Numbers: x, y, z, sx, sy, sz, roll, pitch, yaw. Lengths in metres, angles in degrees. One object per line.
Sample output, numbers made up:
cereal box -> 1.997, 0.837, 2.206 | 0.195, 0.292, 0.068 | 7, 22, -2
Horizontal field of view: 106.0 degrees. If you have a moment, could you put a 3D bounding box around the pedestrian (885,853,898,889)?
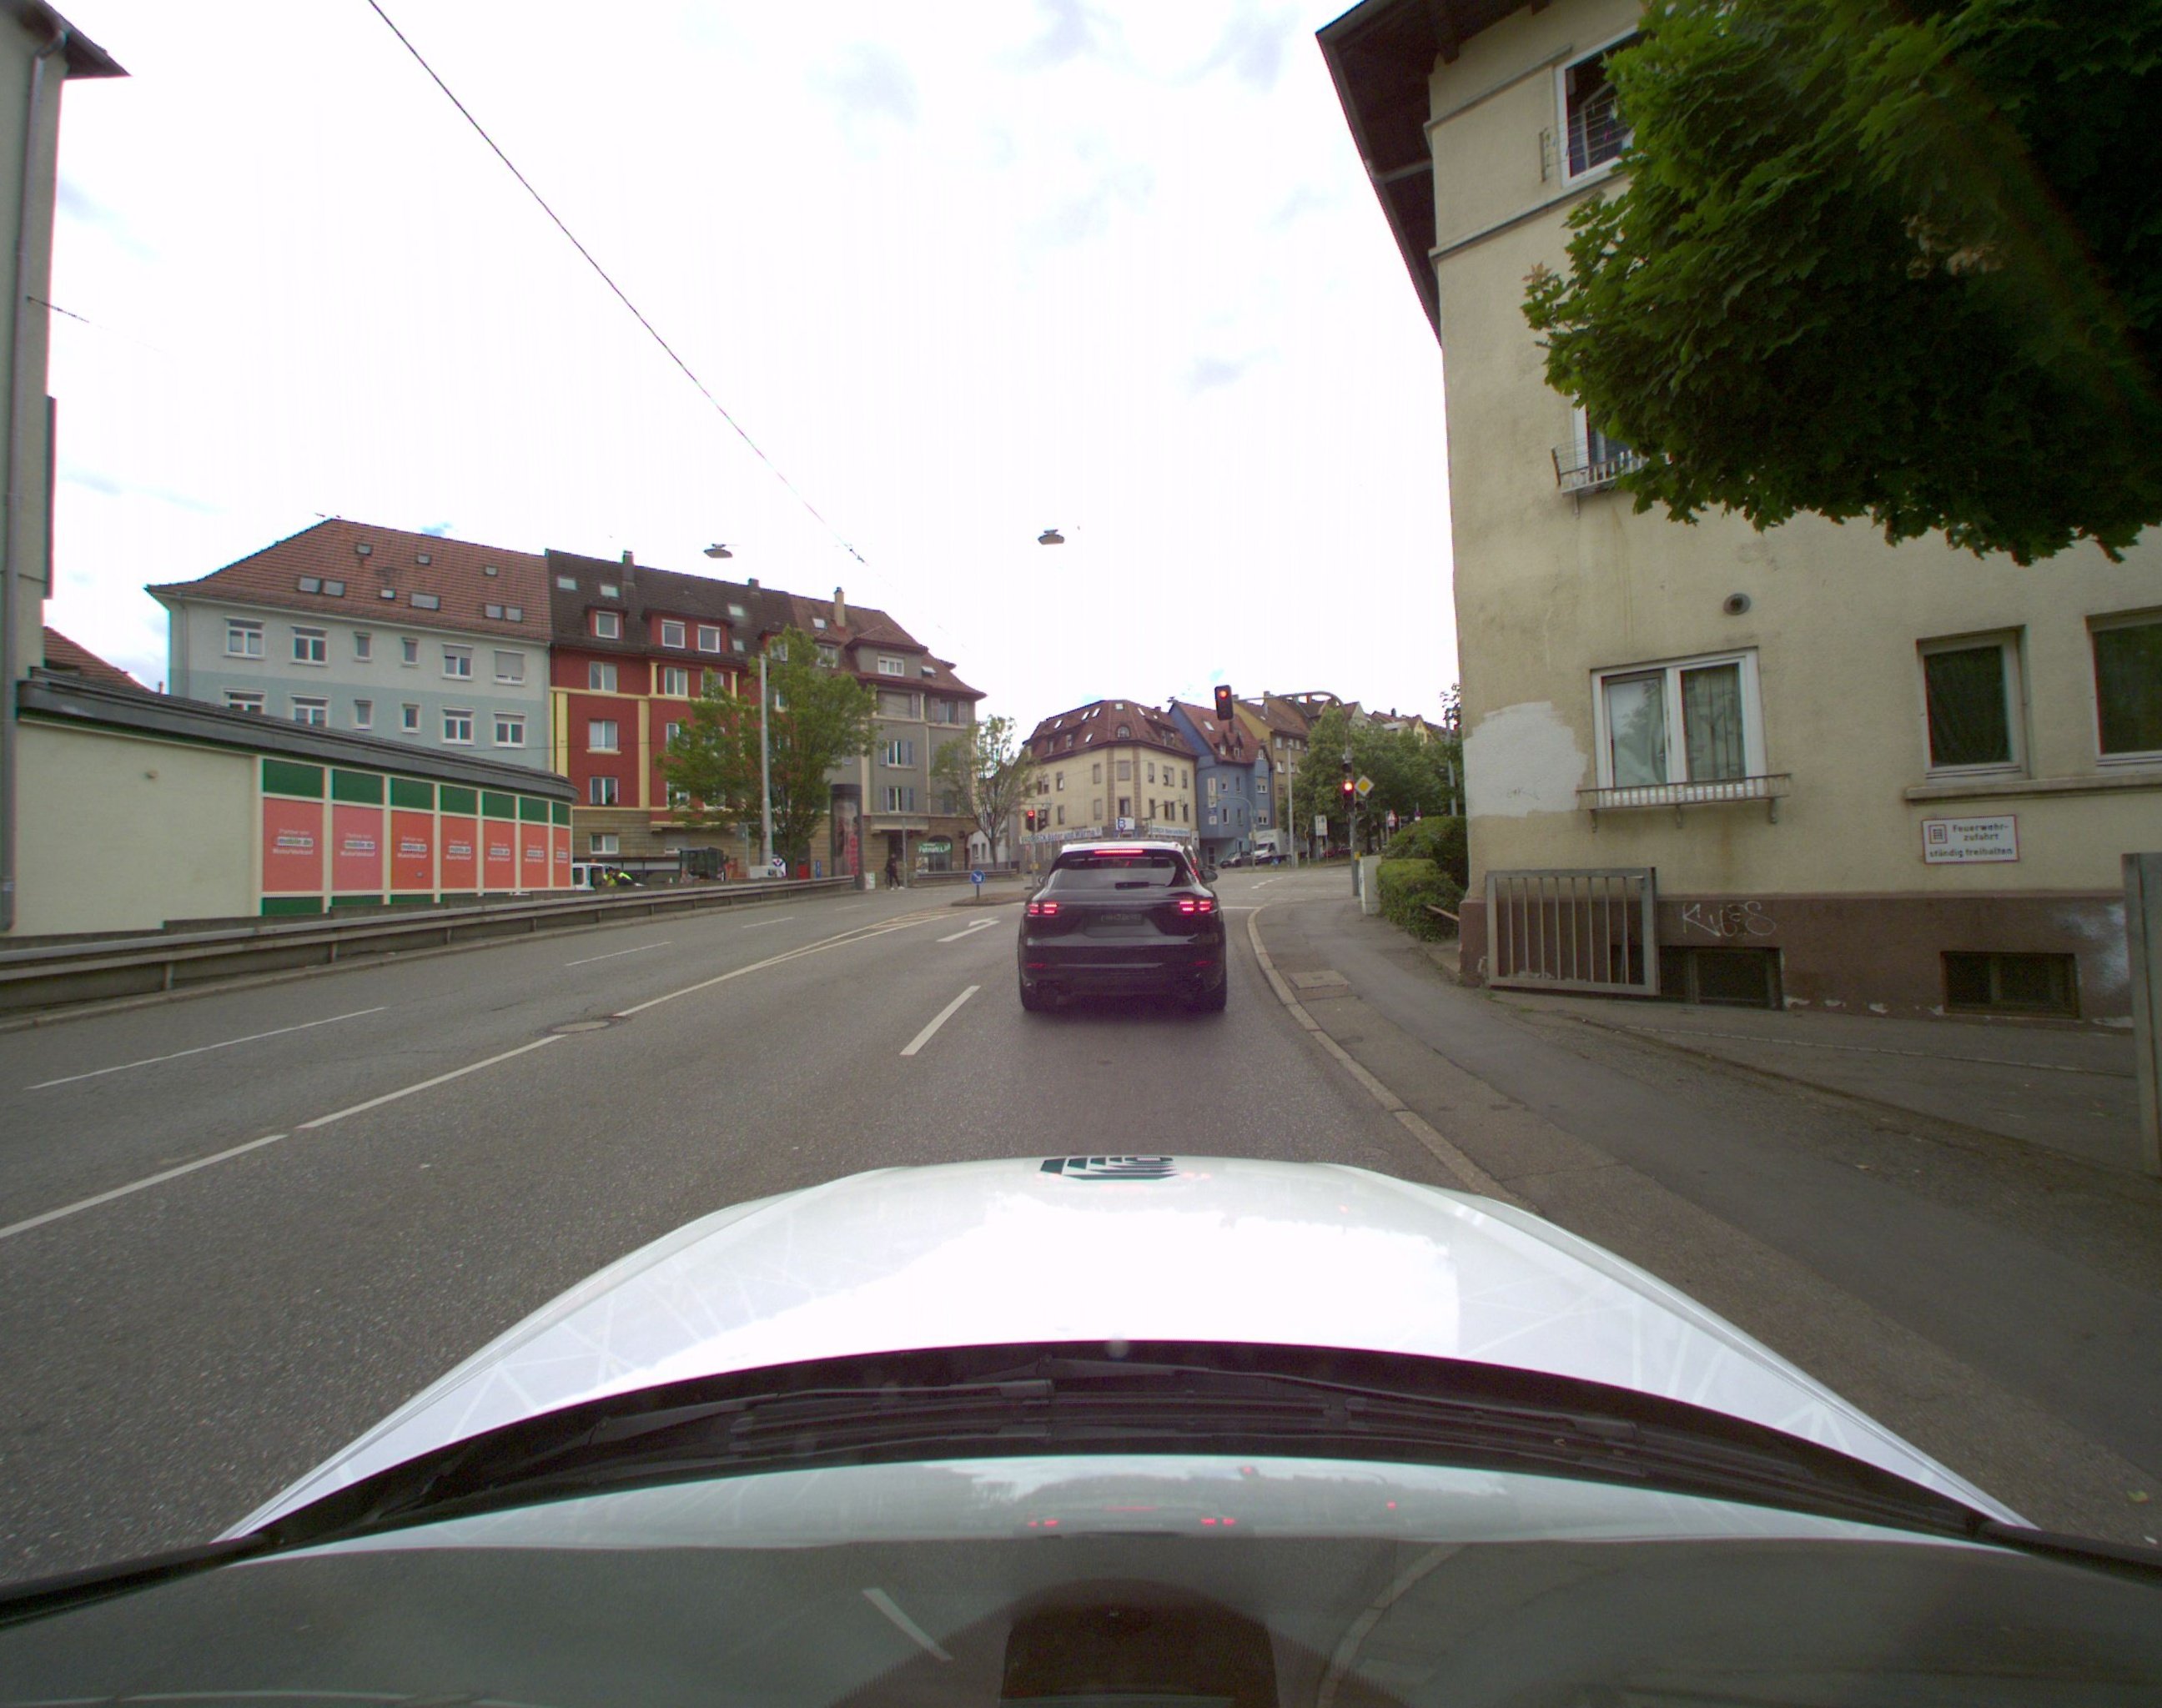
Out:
pedestrian -> -9.220, 0.803, 39.608 | 0.511, 1.730, 0.451 | 1, -1, 4

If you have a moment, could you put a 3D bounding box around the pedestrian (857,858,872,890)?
pedestrian -> -10.909, 1.012, 40.972 | 0.587, 1.567, 0.486 | 1, -1, 2

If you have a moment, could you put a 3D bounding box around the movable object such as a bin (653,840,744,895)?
movable object such as a bin -> -13.188, 0.446, 28.323 | 1.903, 1.771, 3.985 | 1, 0, -11

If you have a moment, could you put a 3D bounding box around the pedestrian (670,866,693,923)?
pedestrian -> -12.347, 1.229, 25.158 | 0.545, 1.730, 0.587 | 1, -1, -32

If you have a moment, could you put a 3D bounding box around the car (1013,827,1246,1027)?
car -> 0.407, 0.605, 9.018 | 1.972, 1.684, 3.999 | -1, 1, -1

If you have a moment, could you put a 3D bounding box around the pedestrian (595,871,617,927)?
pedestrian -> -14.978, 1.404, 25.680 | 0.479, 1.730, 0.537 | 1, -1, -44

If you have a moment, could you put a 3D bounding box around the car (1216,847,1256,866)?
car -> 14.040, 0.229, 73.421 | 1.974, 1.684, 4.026 | -2, 0, 36

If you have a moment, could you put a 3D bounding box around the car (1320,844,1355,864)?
car -> 27.867, 0.006, 88.381 | 4.023, 2.014, 1.975 | 1, -1, -45

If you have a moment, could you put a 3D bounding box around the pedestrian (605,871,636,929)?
pedestrian -> -14.165, 1.398, 25.034 | 0.565, 1.761, 0.622 | 0, -1, 37

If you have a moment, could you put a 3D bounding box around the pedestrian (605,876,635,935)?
pedestrian -> -13.470, 1.491, 23.802 | 0.562, 1.700, 0.541 | 1, -1, -9

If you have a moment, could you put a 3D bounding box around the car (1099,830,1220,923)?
car -> 1.765, 0.424, 16.979 | 1.980, 1.684, 4.014 | -1, 0, 13

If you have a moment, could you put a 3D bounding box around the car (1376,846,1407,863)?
car -> 36.941, 0.049, 96.865 | 4.023, 2.014, 1.975 | 1, -1, -45

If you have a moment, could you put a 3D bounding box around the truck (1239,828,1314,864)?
truck -> 19.299, -0.743, 79.952 | 8.843, 3.340, 2.847 | 0, 0, -44
